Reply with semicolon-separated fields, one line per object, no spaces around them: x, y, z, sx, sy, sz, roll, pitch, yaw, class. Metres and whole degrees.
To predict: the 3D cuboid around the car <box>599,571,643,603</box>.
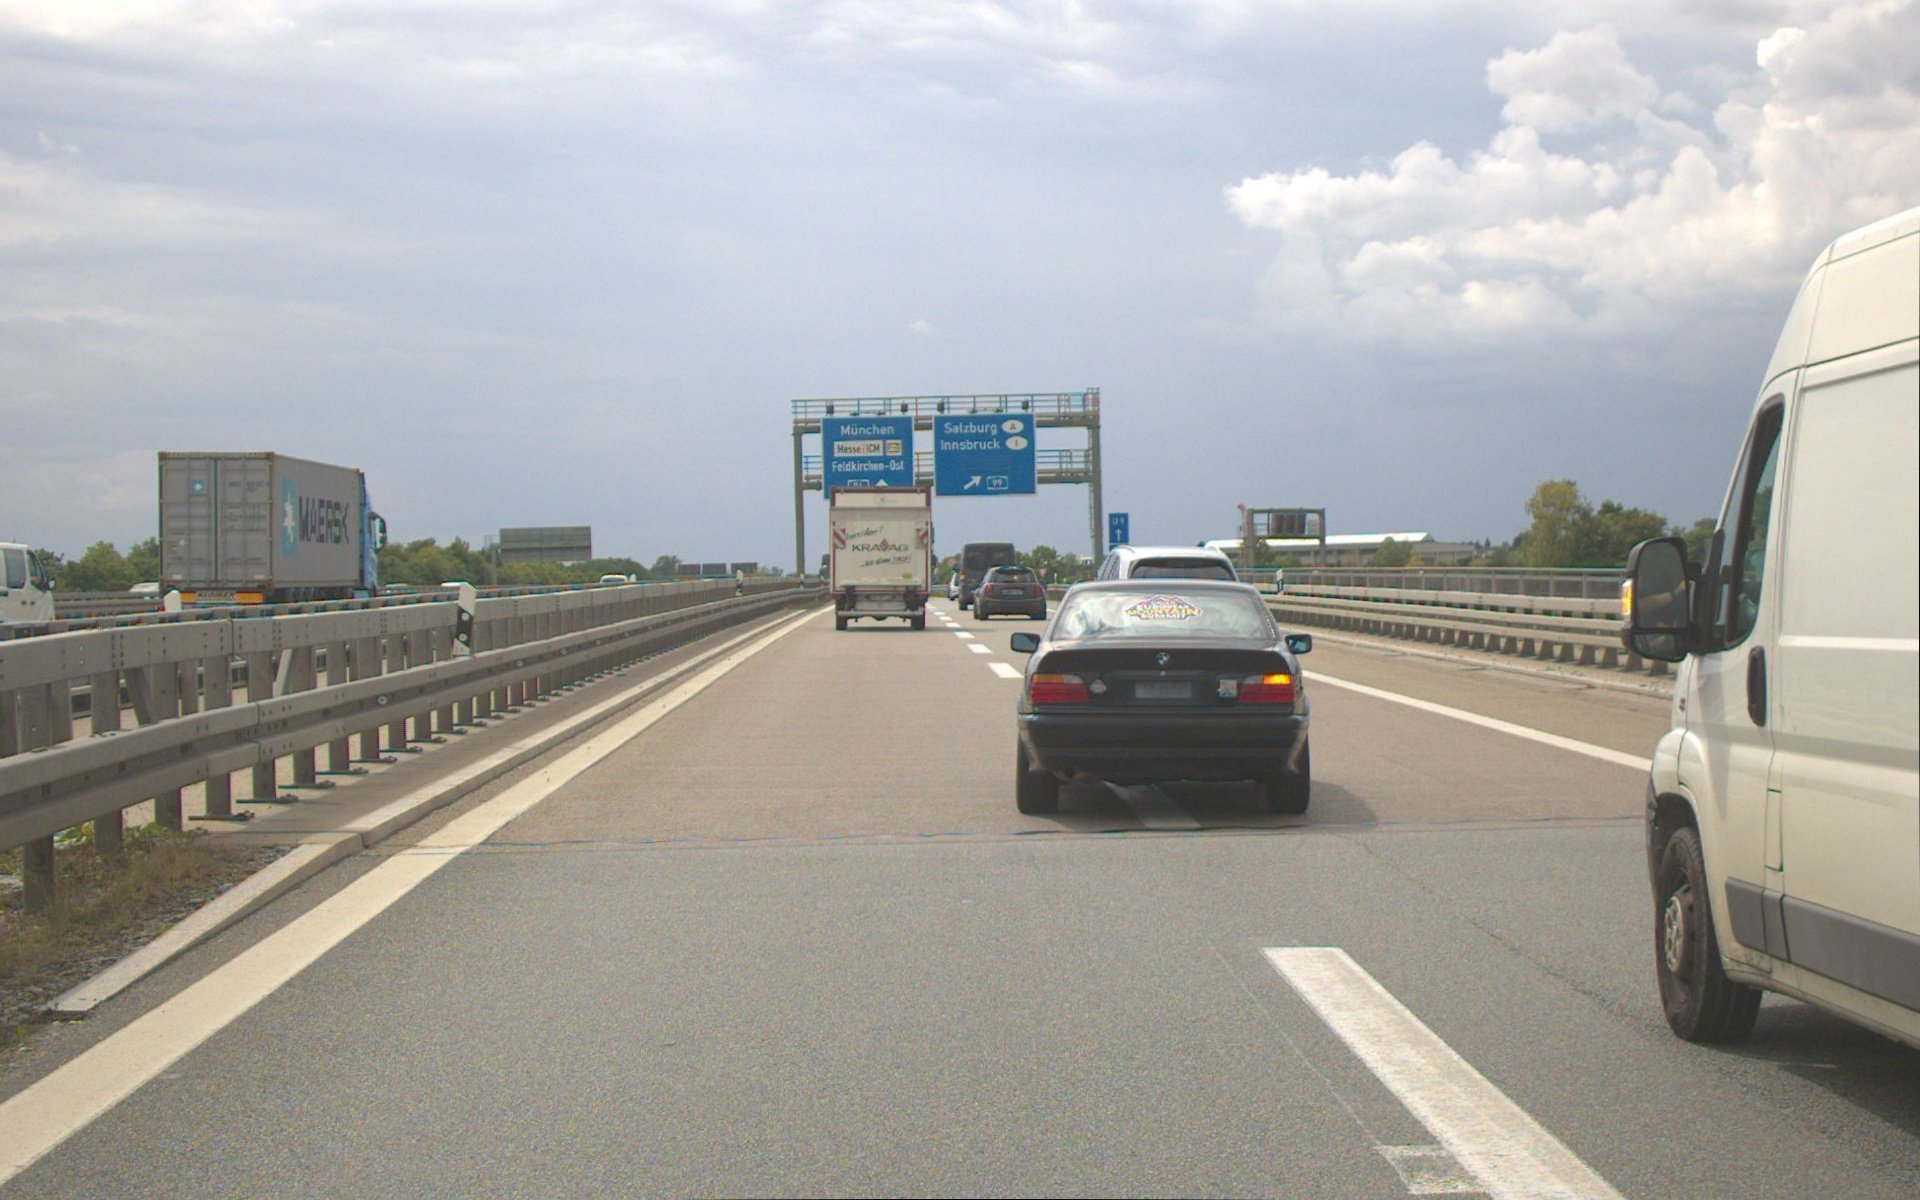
-17.368;-0.673;176.271;1.828;1.557;4.000;0;1;0;car

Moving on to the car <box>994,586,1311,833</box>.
1.184;0.580;20.731;1.704;1.277;4.365;0;1;4;car

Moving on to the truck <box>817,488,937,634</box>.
-1.885;-0.804;78.116;2.569;3.115;8.634;0;0;-1;truck

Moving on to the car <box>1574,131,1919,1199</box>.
3.220;0.150;8.530;2.114;2.445;6.152;0;1;-2;car

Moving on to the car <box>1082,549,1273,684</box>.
2.519;0.154;40.737;1.819;1.509;4.001;0;1;-3;car

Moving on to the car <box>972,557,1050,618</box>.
1.310;-0.338;90.251;1.884;1.546;4.000;0;1;-1;car

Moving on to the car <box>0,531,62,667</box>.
-15.265;-0.045;52.592;1.993;2.007;4.375;0;1;-1;car

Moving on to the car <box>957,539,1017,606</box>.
0.909;-0.951;118.485;1.906;2.254;4.649;0;1;-2;car

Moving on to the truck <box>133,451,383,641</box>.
-16.150;-1.257;80.509;3.183;4.005;16.077;0;1;-2;truck
